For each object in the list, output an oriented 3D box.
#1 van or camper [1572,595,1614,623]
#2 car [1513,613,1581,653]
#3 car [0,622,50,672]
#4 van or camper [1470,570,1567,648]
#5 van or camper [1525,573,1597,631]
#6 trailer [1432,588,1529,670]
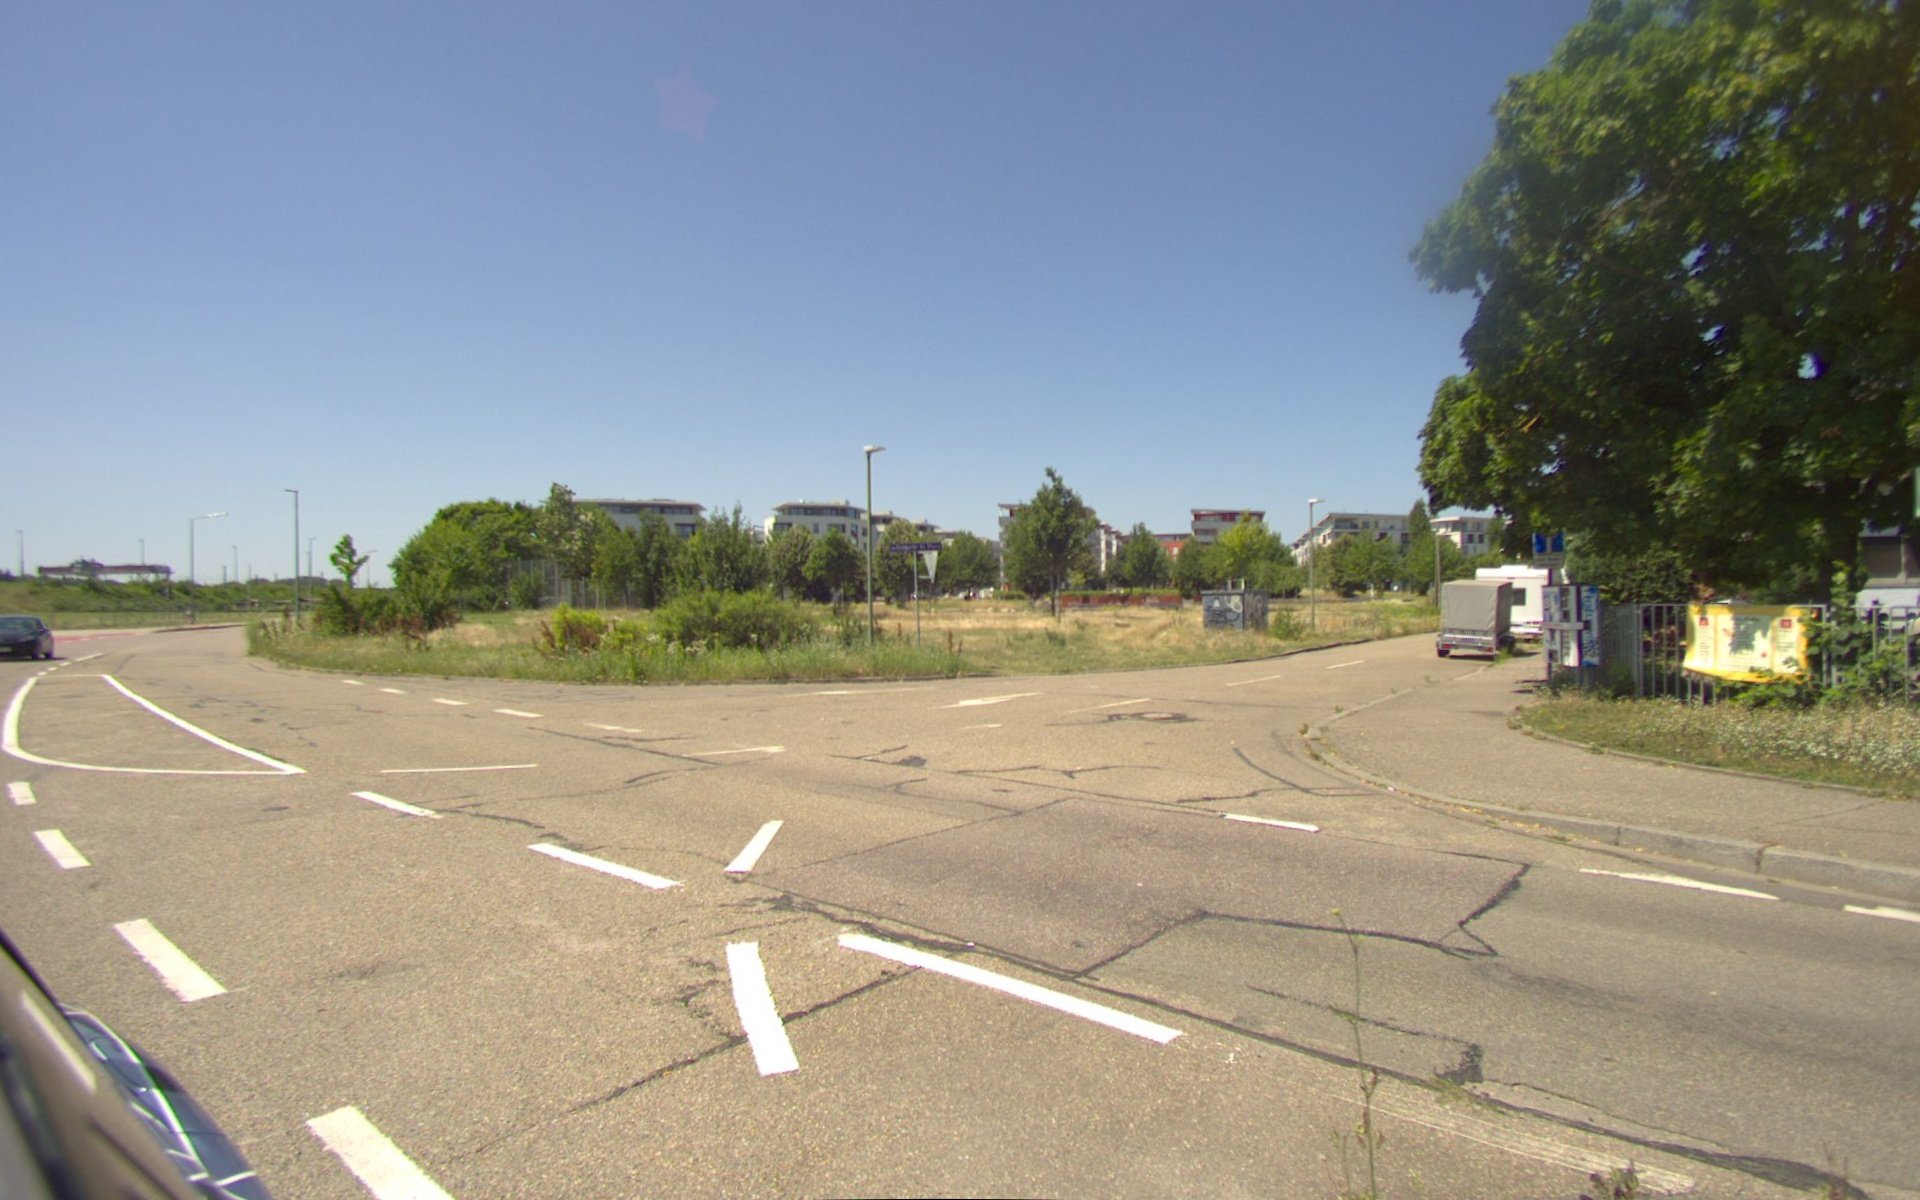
[{"bbox_3d":[43.992,0.621,70.294,2.352,1.894,5.001,-1,-1,34],"label":"van or camper"},{"bbox_3d":[25.087,1.377,43.195,1.913,1.564,3.947,-1,-1,39],"label":"car"},{"bbox_3d":[-30.286,1.466,32.248,1.628,1.478,4.168,0,-1,-38],"label":"car"},{"bbox_3d":[20.426,0.270,36.901,2.488,2.610,4.411,-1,1,37],"label":"van or camper"},{"bbox_3d":[29.004,0.117,48.714,2.467,2.613,5.897,-1,0,36],"label":"van or camper"},{"bbox_3d":[14.086,0.723,27.323,1.758,2.061,3.382,-1,0,37],"label":"trailer"}]
